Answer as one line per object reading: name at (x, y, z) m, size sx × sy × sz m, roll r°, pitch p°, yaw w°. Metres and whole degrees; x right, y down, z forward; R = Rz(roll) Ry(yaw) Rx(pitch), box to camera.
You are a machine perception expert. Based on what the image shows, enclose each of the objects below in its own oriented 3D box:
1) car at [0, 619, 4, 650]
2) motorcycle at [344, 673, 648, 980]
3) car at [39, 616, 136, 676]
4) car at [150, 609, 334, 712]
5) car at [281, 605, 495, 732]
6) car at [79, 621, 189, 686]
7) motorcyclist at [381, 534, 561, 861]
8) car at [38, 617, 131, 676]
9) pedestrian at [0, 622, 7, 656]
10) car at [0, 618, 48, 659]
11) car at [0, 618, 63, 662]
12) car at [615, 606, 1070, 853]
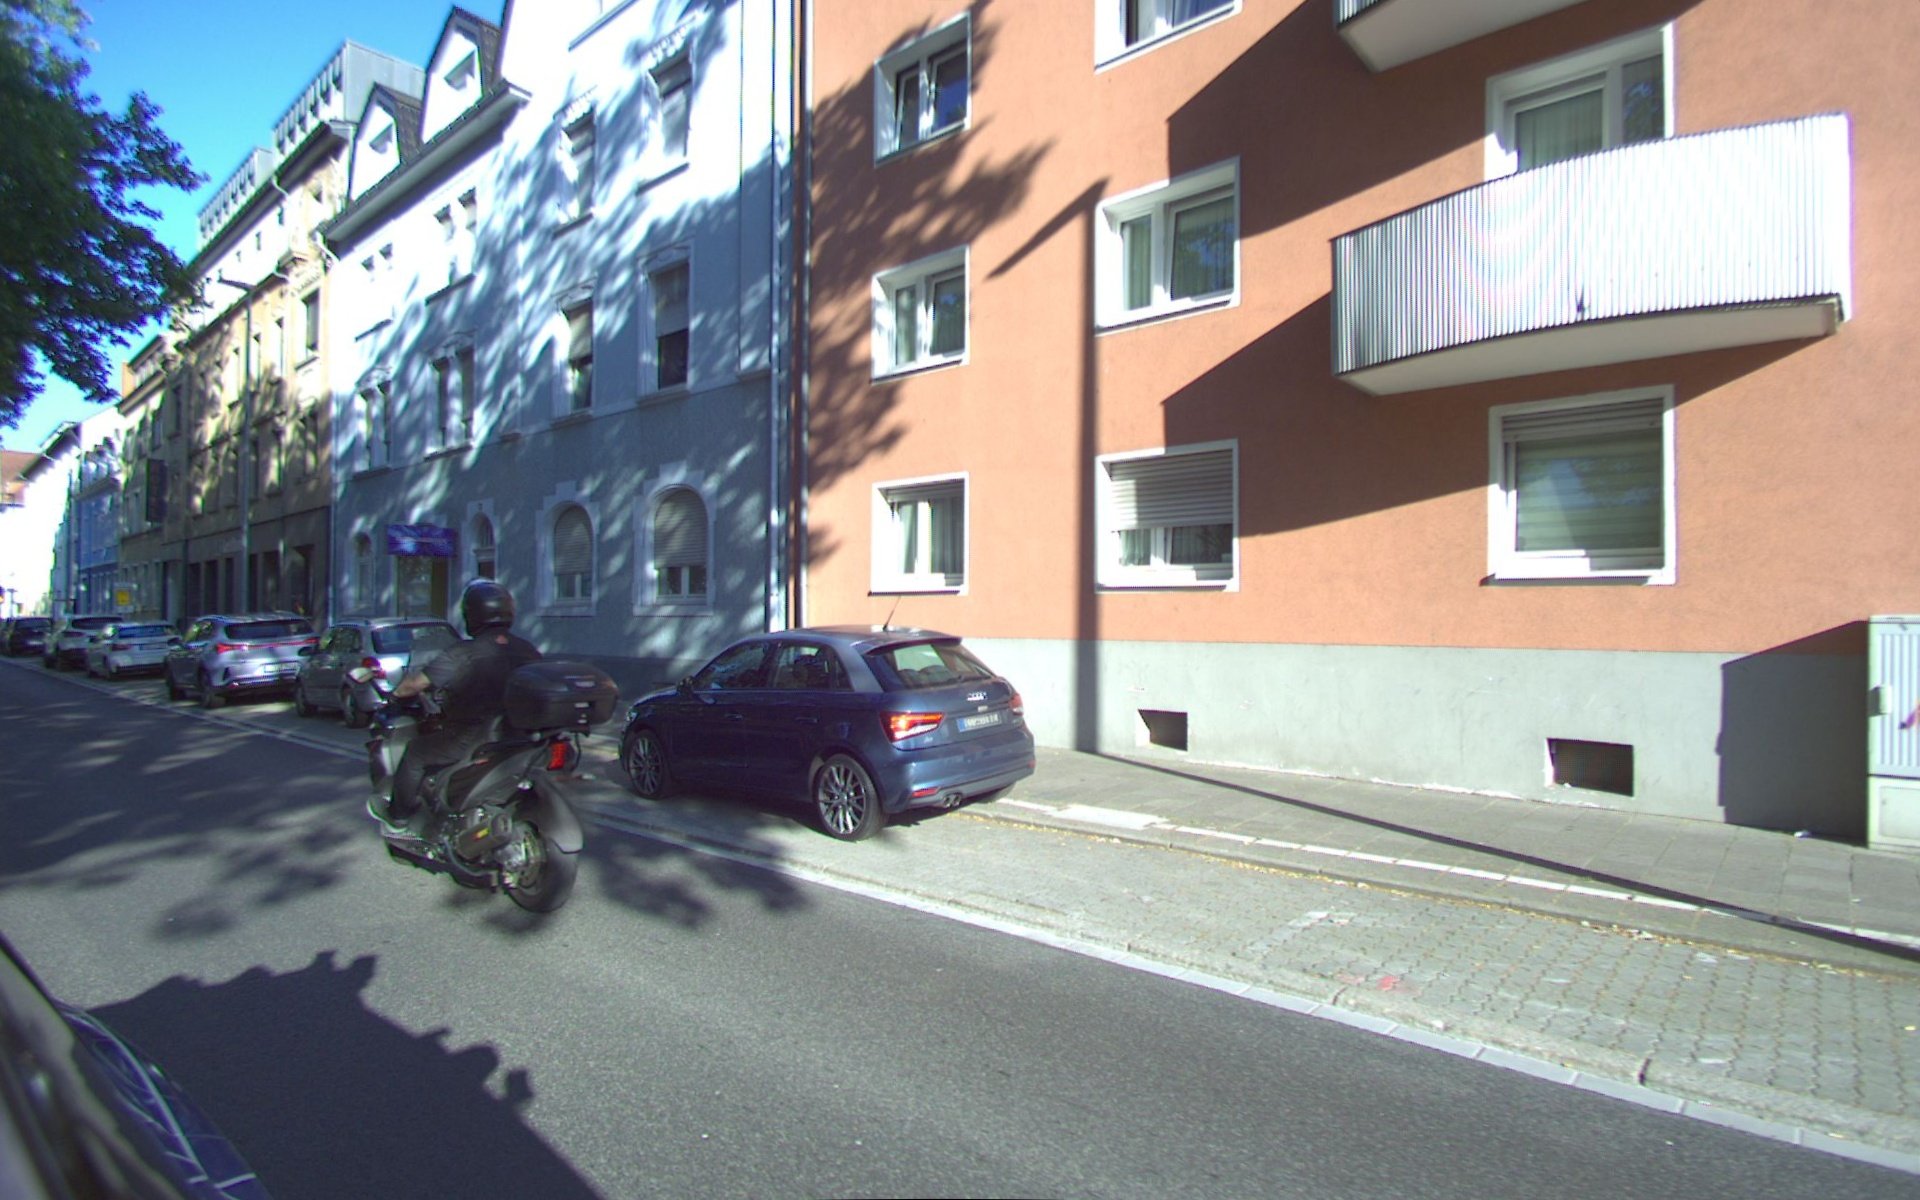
car at (-54.682, 1.956, 56.437) m, size 1.884 × 1.685 × 4.495 m, roll -1°, pitch 0°, yaw -44°
motorcycle at (-2.552, 1.061, 5.403) m, size 2.263 × 1.251 × 0.541 m, roll -1°, pitch -4°, yaw 41°
car at (-25.501, 1.301, 29.526) m, size 4.199 × 1.597 × 1.660 m, roll -1°, pitch 0°, yaw 43°
car at (-13.496, 1.042, 18.915) m, size 4.576 × 1.654 × 1.887 m, roll -1°, pitch 0°, yaw 43°
car at (-8.715, 0.939, 15.283) m, size 3.984 × 1.654 × 1.660 m, roll -1°, pitch 0°, yaw 42°
car at (-21.316, 1.315, 26.079) m, size 3.871 × 1.507 × 1.660 m, roll -1°, pitch 0°, yaw 43°
motorcyclist at (-2.663, 0.492, 5.508) m, size 0.831 × 1.617 × 0.579 m, roll -1°, pitch -2°, yaw 41°
car at (-25.912, 1.331, 29.905) m, size 3.756 × 1.604 × 1.660 m, roll -1°, pitch 0°, yaw 43°
pedestrian at (-44.976, 1.810, 47.124) m, size 0.706 × 1.582 × 0.853 m, roll -2°, pitch -2°, yaw 45°
car at (-40.562, 1.625, 43.392) m, size 4.155 × 1.685 × 1.762 m, roll -1°, pitch 0°, yaw 43°
car at (-36.695, 1.535, 39.975) m, size 3.707 × 1.617 × 1.659 m, roll -1°, pitch 0°, yaw 44°
car at (-1.076, 0.832, 8.097) m, size 3.600 × 1.497 × 1.660 m, roll -1°, pitch 0°, yaw 43°
